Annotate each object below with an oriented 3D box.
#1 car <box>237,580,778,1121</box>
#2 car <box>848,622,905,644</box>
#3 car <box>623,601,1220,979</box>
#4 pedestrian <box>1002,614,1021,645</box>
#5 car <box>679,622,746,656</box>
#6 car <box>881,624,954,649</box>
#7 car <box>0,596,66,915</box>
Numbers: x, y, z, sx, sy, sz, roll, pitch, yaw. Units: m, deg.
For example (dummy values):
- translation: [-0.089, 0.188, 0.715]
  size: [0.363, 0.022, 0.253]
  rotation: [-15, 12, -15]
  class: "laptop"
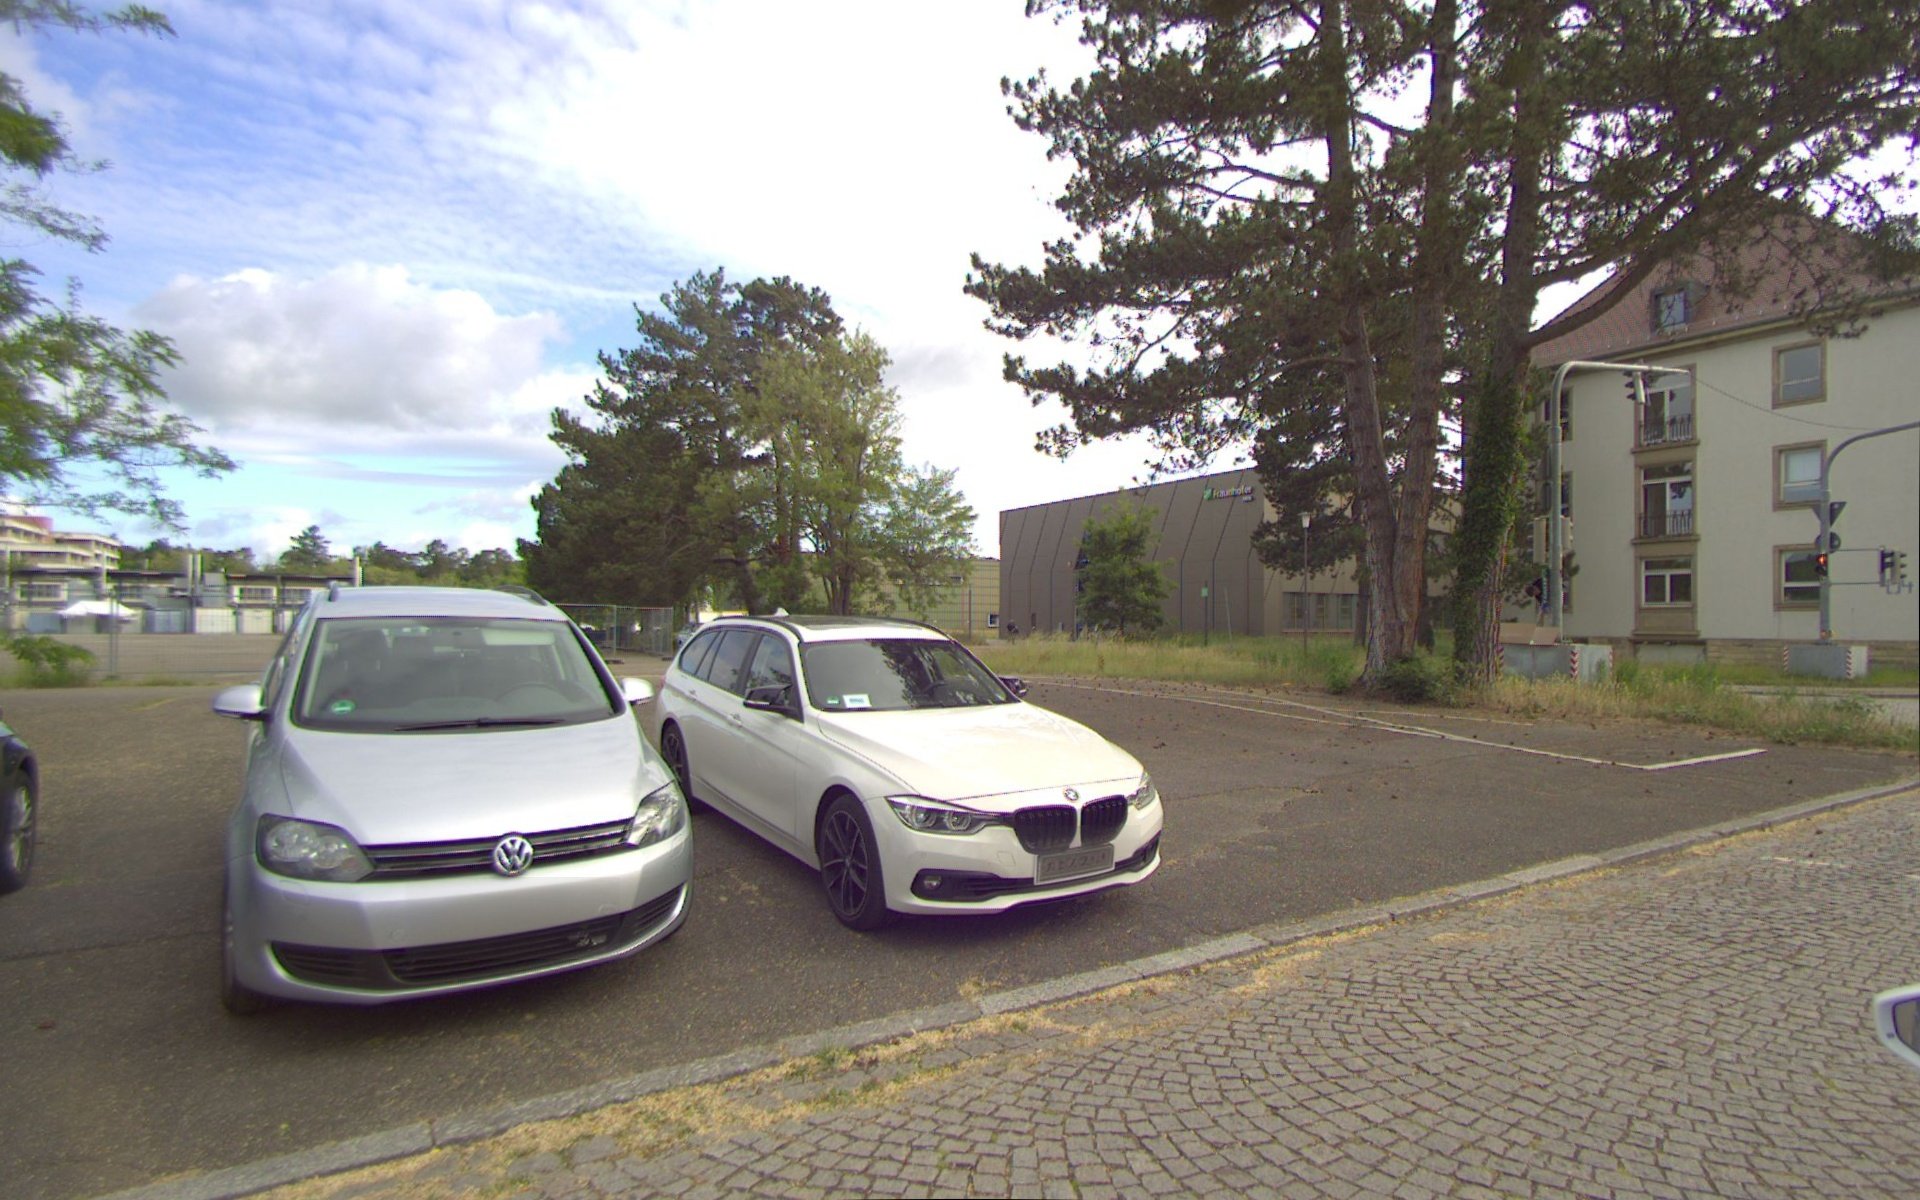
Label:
- translation: [-2.548, 0.725, 5.099]
  size: [1.707, 1.568, 3.961]
  rotation: [1, 1, -35]
  class: "car"
- translation: [-6.004, 2.385, 72.504]
  size: [3.615, 1.449, 1.985]
  rotation: [-1, 0, -29]
  class: "car"
- translation: [-0.679, 0.816, 6.639]
  size: [1.783, 1.463, 4.618]
  rotation: [1, 1, -34]
  class: "car"
- translation: [3.439, 1.980, 67.337]
  size: [0.891, 2.040, 0.914]
  rotation: [1, -1, -29]
  class: "pedestrian"
- translation: [-10.829, 1.679, 43.749]
  size: [1.678, 1.410, 3.965]
  rotation: [1, -1, -32]
  class: "car"
- translation: [-2.779, 2.377, 65.817]
  size: [4.405, 1.449, 1.985]
  rotation: [-1, 0, -30]
  class: "car"
- translation: [-4.743, 0.743, 3.479]
  size: [1.731, 1.447, 3.966]
  rotation: [1, 1, -31]
  class: "car"
